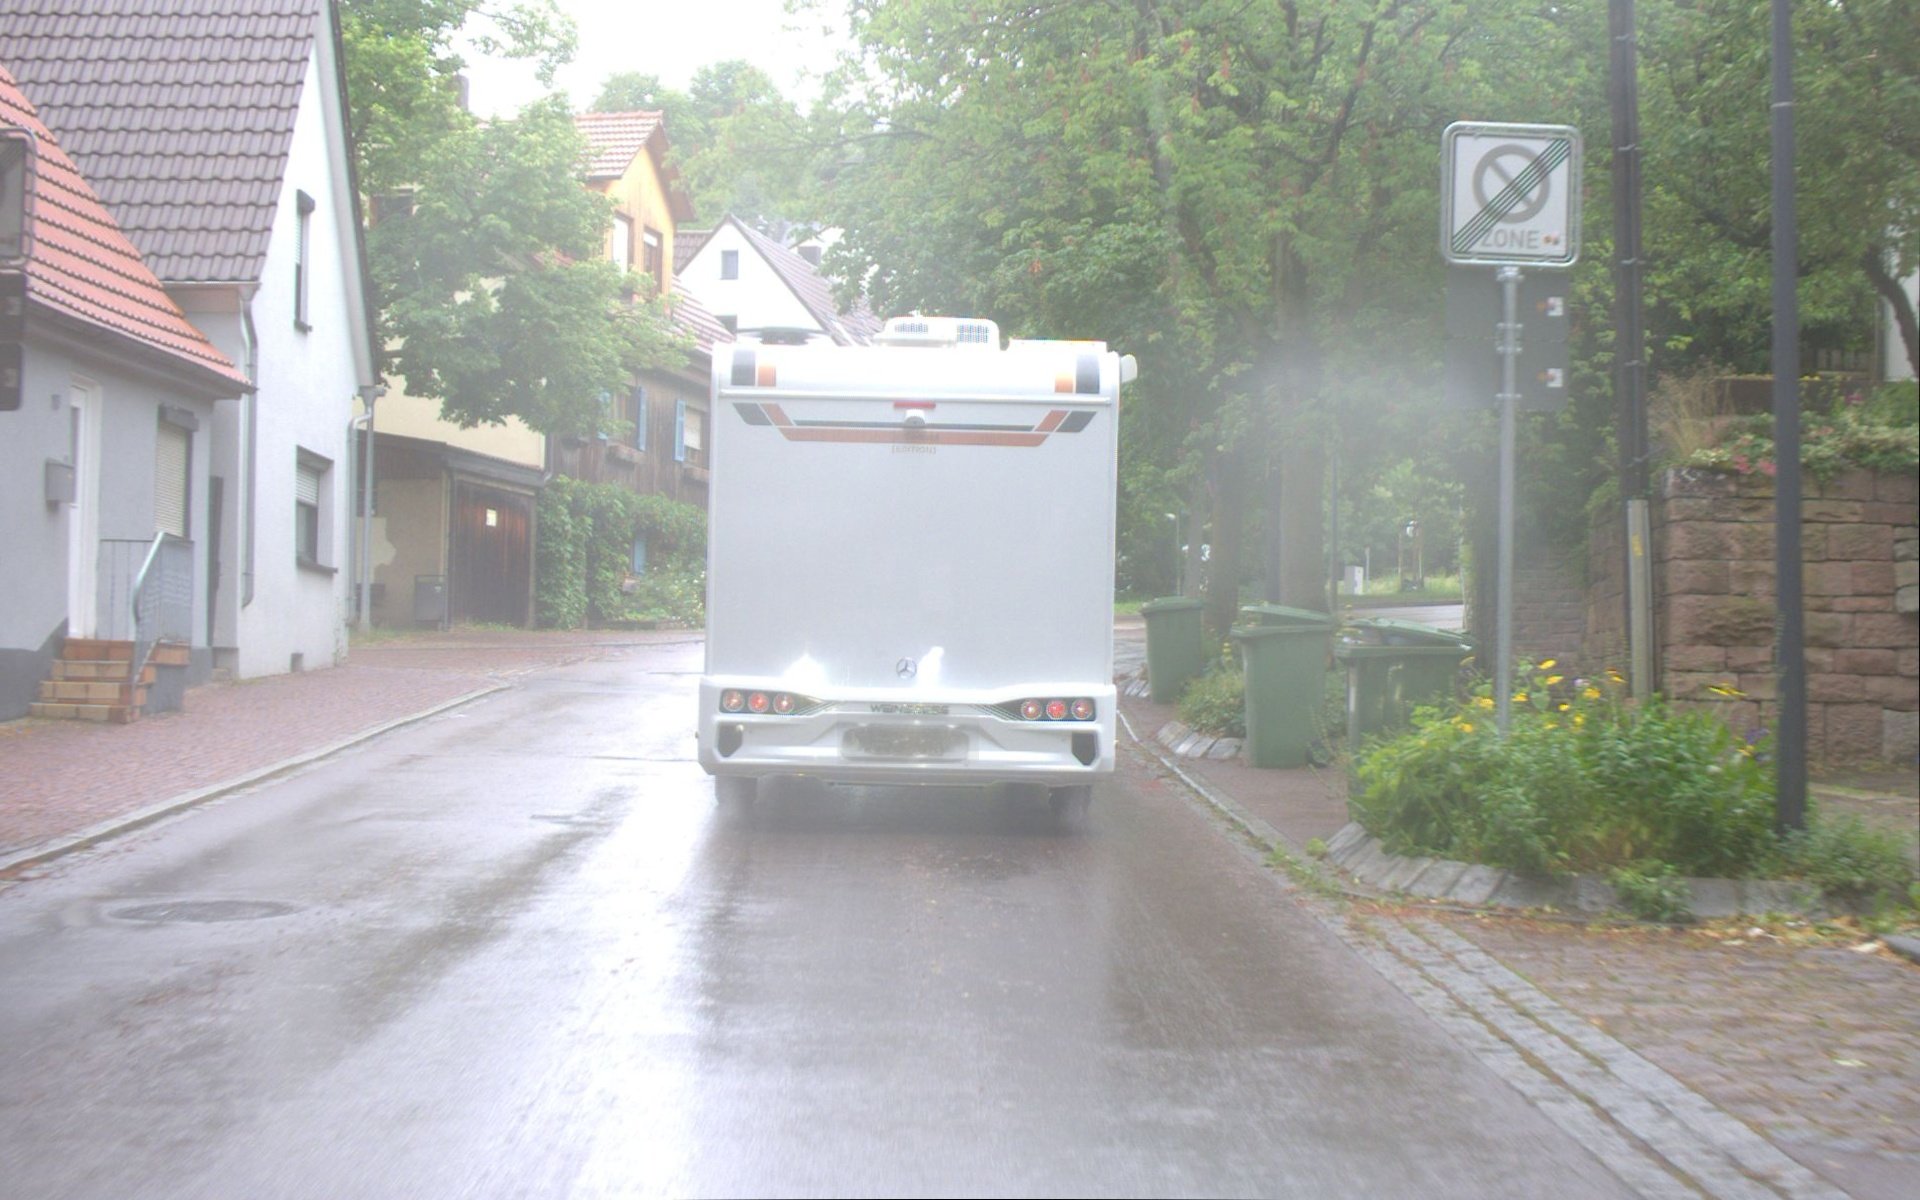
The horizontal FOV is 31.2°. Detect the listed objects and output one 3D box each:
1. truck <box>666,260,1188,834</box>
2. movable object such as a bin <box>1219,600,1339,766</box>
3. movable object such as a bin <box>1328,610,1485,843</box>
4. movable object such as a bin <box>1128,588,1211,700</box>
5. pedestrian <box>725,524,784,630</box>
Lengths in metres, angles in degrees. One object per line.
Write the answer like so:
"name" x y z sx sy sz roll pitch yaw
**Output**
"truck" -0.227 -0.341 21.259 2.694 2.975 6.237 1 1 -1
"movable object such as a bin" 2.258 0.583 24.383 0.723 1.139 0.703 1 0 -3
"movable object such as a bin" 2.397 0.668 18.502 0.721 1.208 0.727 1 0 0
"movable object such as a bin" 2.109 0.440 34.695 0.769 1.103 0.884 -1 0 0
"pedestrian" -3.626 -0.403 60.756 0.794 1.861 0.915 1 0 12
